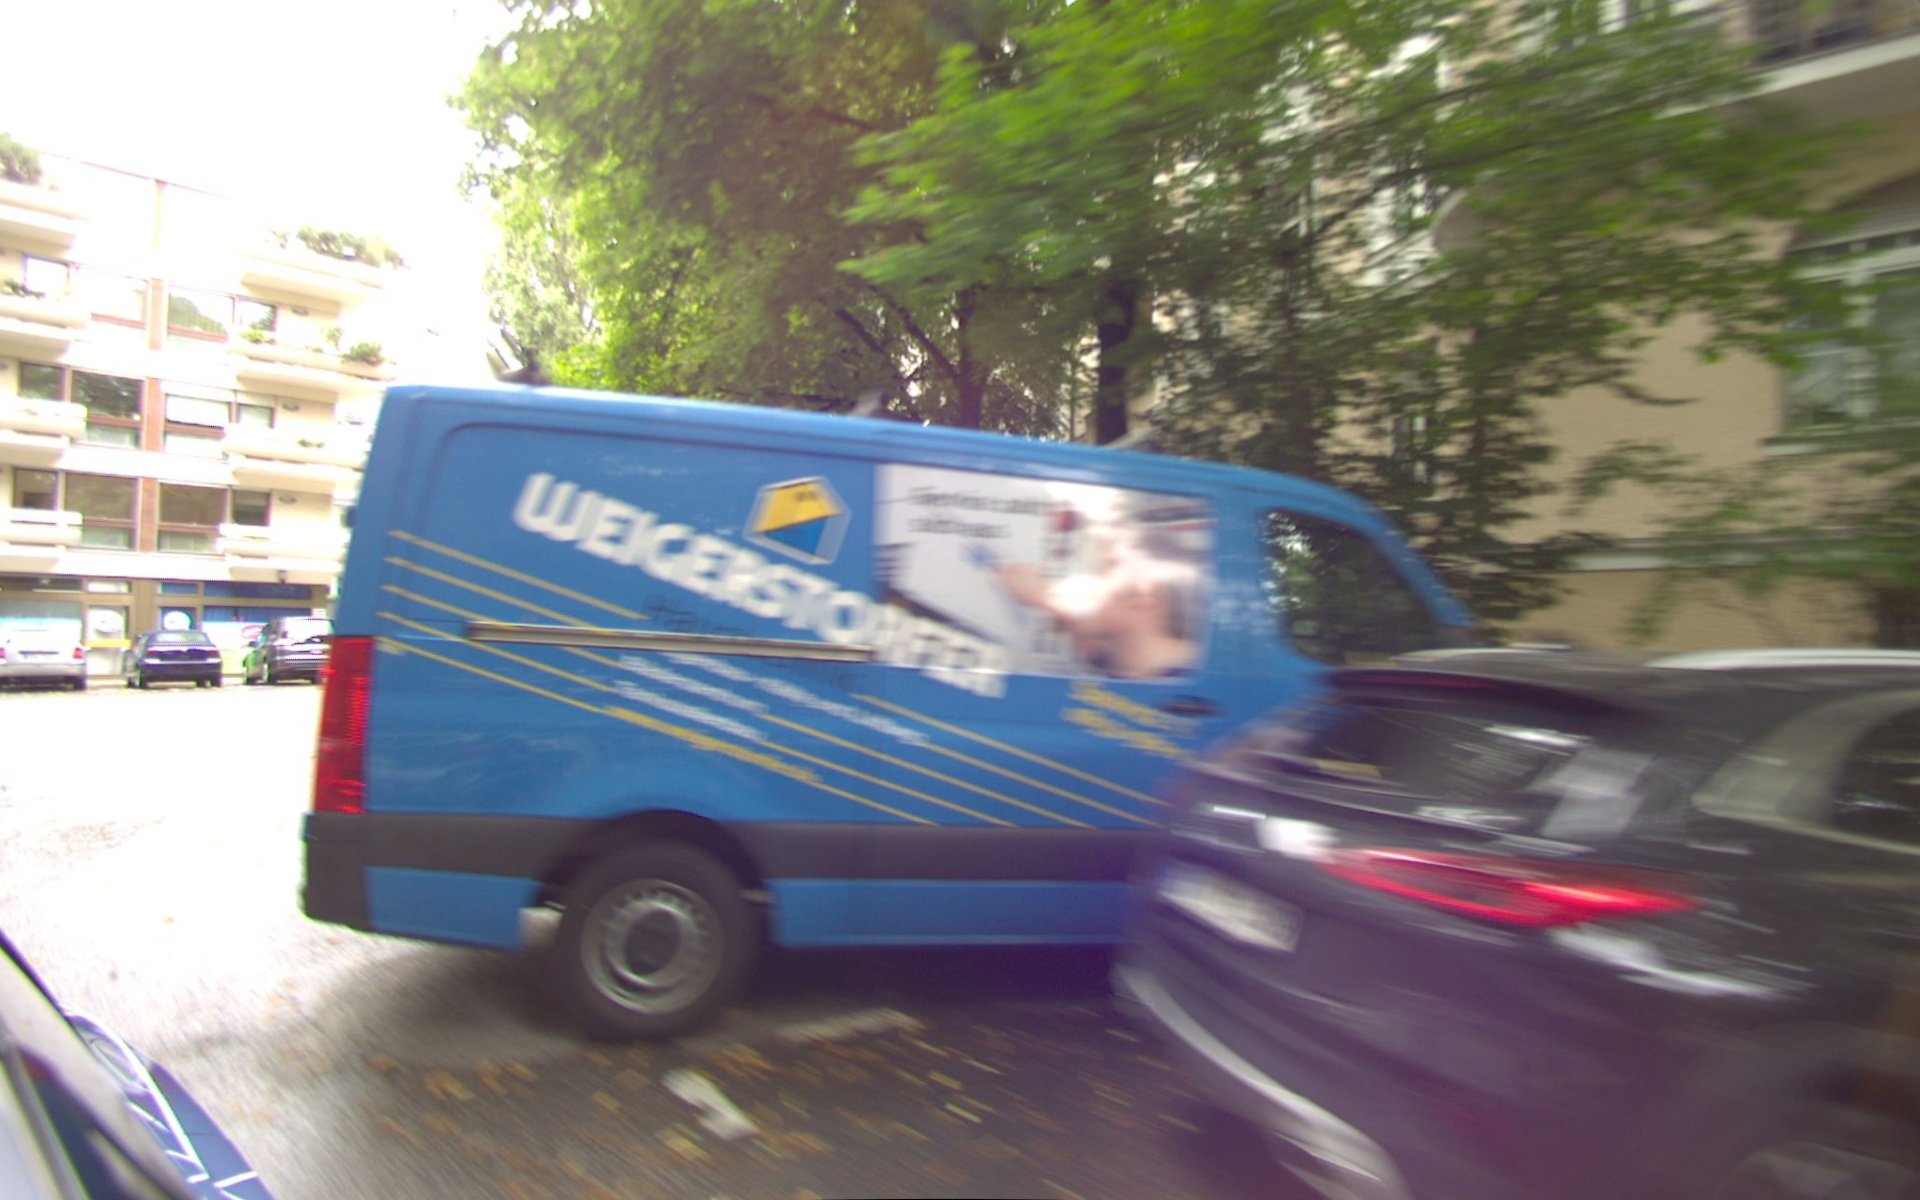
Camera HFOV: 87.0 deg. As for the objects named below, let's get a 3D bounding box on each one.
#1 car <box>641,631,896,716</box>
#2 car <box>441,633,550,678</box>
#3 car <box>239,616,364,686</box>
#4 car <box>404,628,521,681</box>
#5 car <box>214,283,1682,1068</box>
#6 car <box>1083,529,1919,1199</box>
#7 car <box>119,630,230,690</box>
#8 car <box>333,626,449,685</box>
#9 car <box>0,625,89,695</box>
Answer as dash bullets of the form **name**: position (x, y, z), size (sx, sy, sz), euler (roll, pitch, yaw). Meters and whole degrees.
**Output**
- **car**: position (-3.501, 1.344, 18.418), size (4.267, 1.394, 1.850), euler (3, -3, -20)
- **car**: position (-16.015, 1.874, 34.853), size (3.994, 1.409, 1.734), euler (-1, -3, 38)
- **car**: position (-17.369, 1.386, 26.611), size (4.235, 1.697, 1.874), euler (-5, -5, 45)
- **car**: position (-15.600, 1.744, 31.662), size (3.996, 1.491, 1.811), euler (-5, -6, 40)
- **car**: position (0.207, 0.408, 4.706), size (5.404, 2.372, 2.071), euler (4, -3, -14)
- **car**: position (2.526, 0.788, 2.718), size (3.935, 1.548, 1.820), euler (3, -3, -11)
- **car**: position (-19.456, 1.509, 25.006), size (1.692, 1.378, 4.075), euler (2, -5, -44)
- **car**: position (-15.989, 1.587, 28.367), size (4.001, 1.491, 1.809), euler (-6, -6, 45)
- **car**: position (-21.364, 1.418, 23.306), size (1.695, 1.466, 4.244), euler (2, -6, -44)
